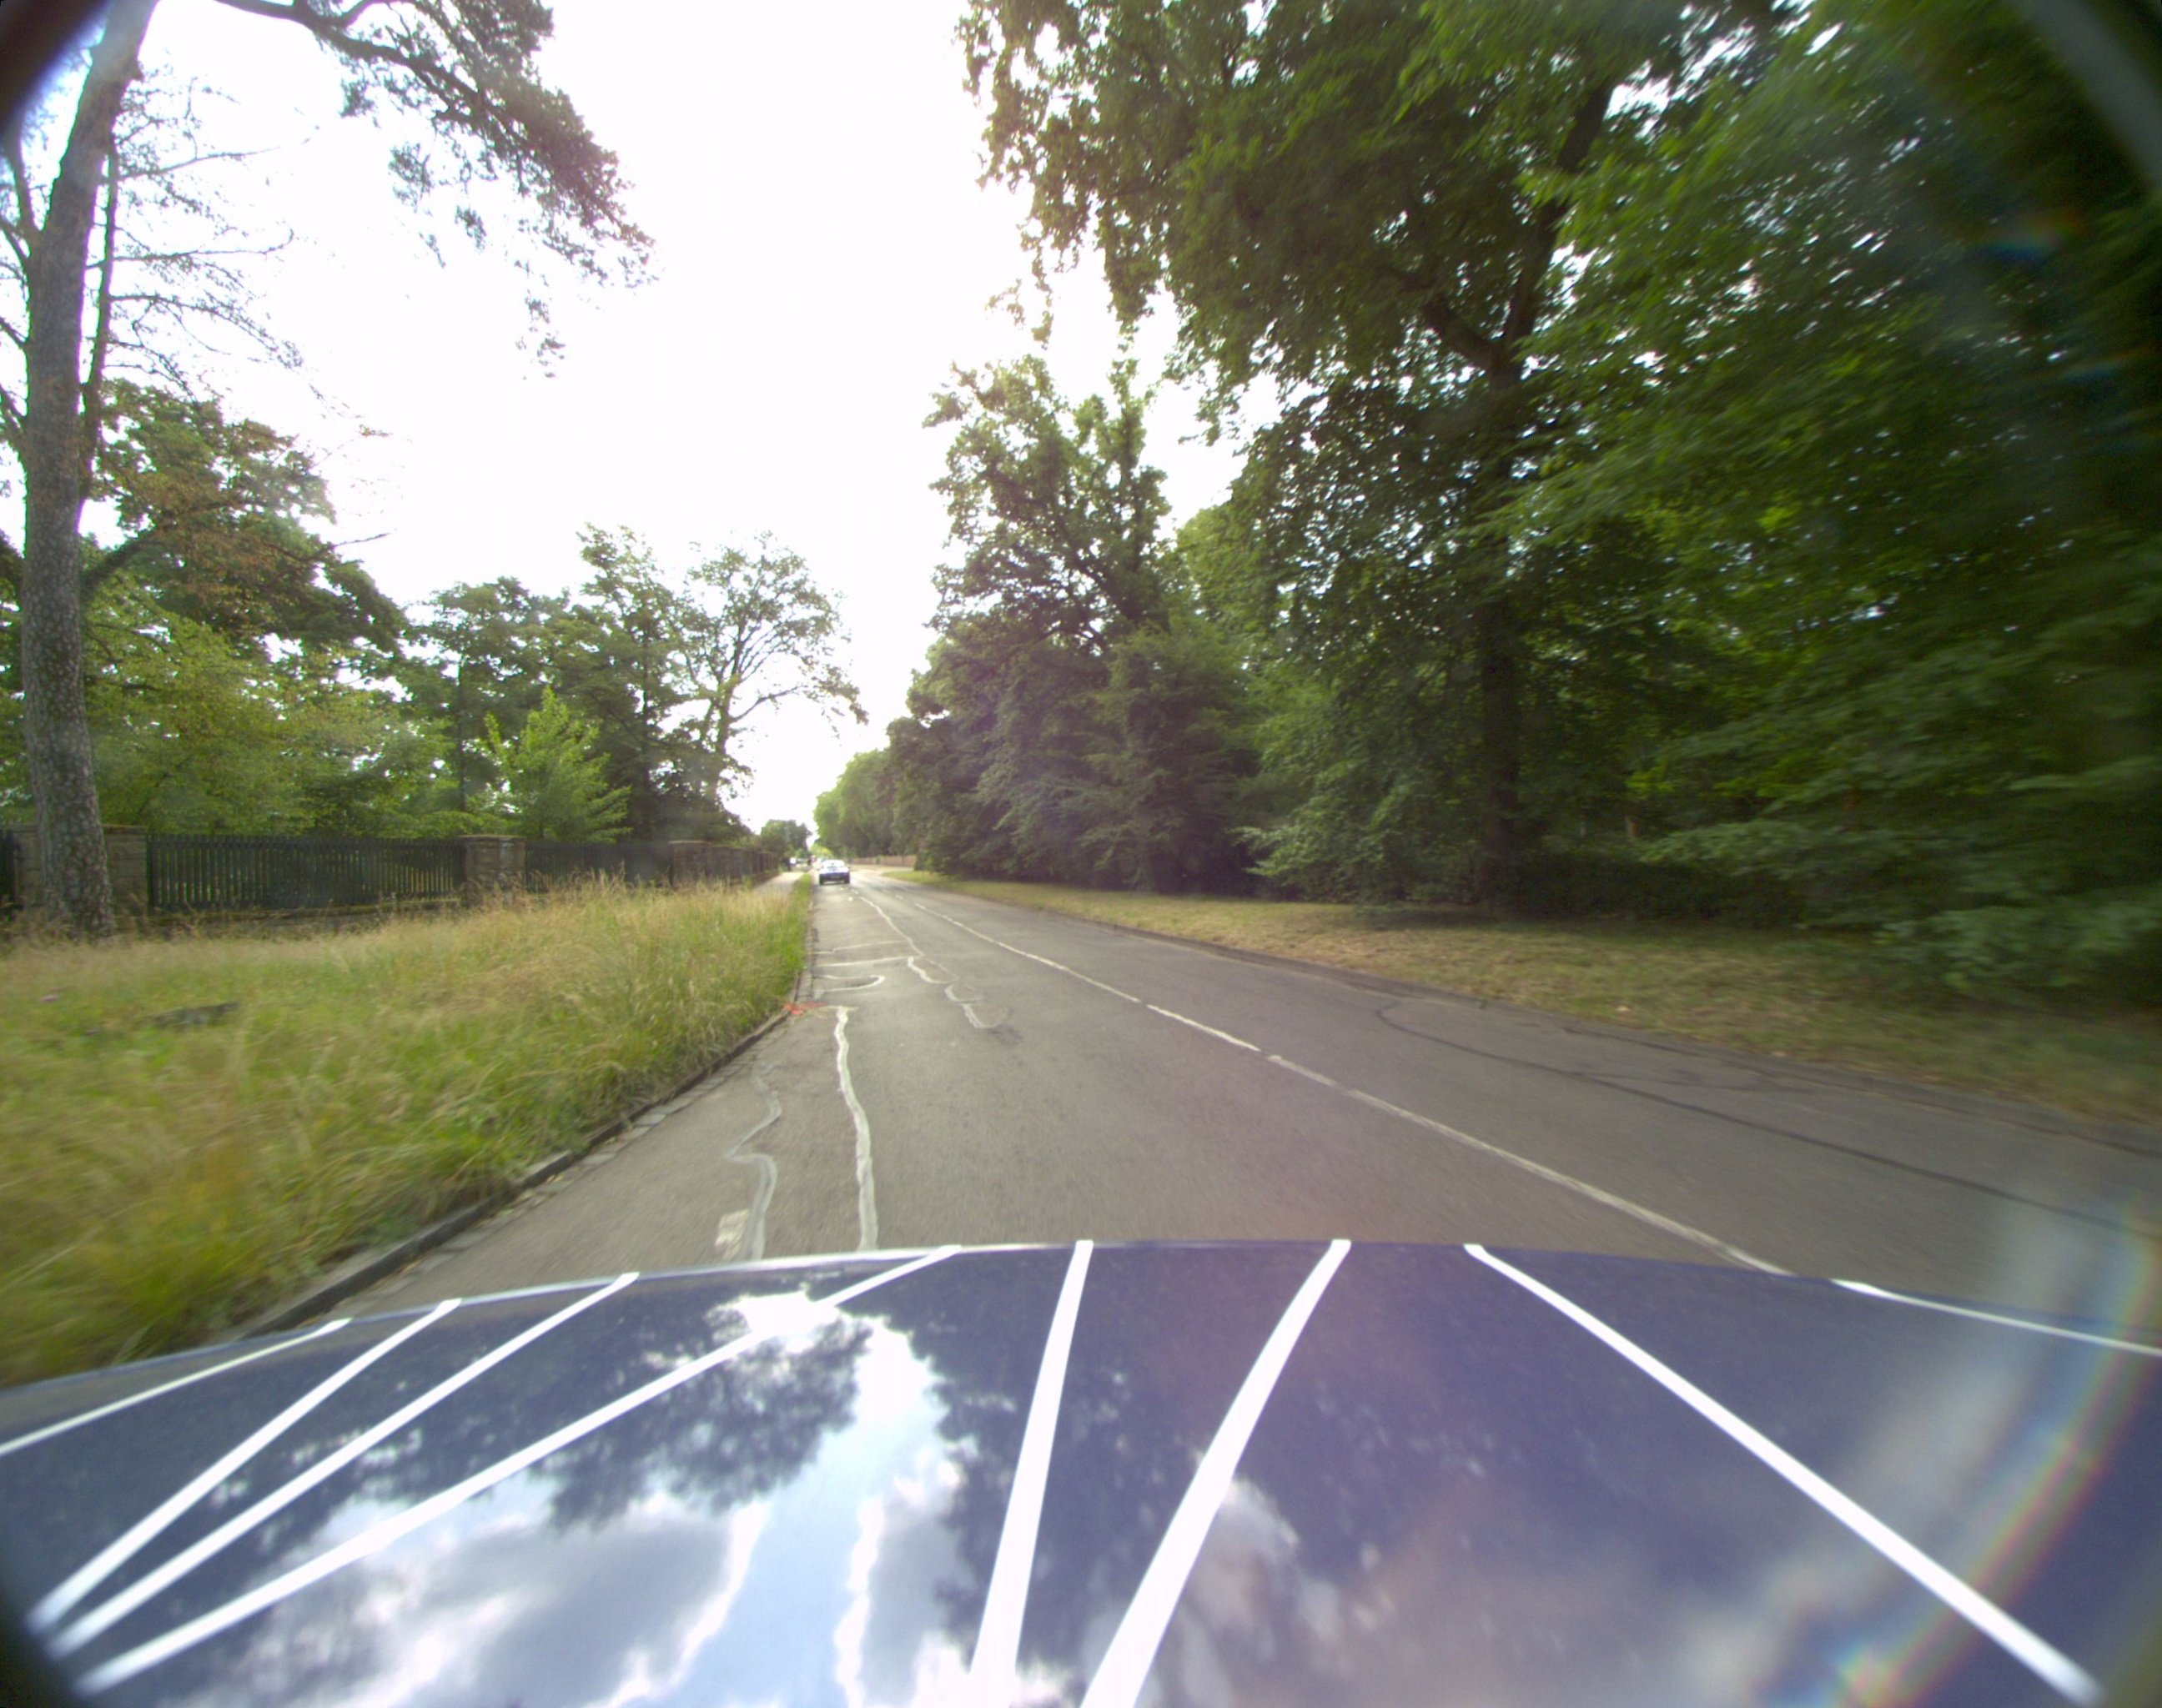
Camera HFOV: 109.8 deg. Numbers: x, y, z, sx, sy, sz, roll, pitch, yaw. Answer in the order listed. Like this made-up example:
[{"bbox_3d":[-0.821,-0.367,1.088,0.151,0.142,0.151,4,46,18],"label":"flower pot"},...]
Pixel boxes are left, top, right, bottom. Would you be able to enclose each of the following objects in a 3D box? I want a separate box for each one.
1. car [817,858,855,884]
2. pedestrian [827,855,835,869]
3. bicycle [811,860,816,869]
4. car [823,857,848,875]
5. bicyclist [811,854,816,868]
[{"bbox_3d":[-15.428,1.091,47.765,1.968,1.455,4.522,-3,-1,-21],"label":"car"},{"bbox_3d":[-30.588,0.986,92.935,0.833,1.641,0.625,0,0,-3],"label":"pedestrian"},{"bbox_3d":[-31.045,1.219,88.285,0.560,1.066,2.153,0,-1,-20],"label":"bicycle"},{"bbox_3d":[-21.965,1.056,67.920,2.002,1.455,4.196,-1,1,-19],"label":"car"},{"bbox_3d":[-31.045,0.848,88.222,0.572,1.578,1.203,0,0,-20],"label":"bicyclist"}]
